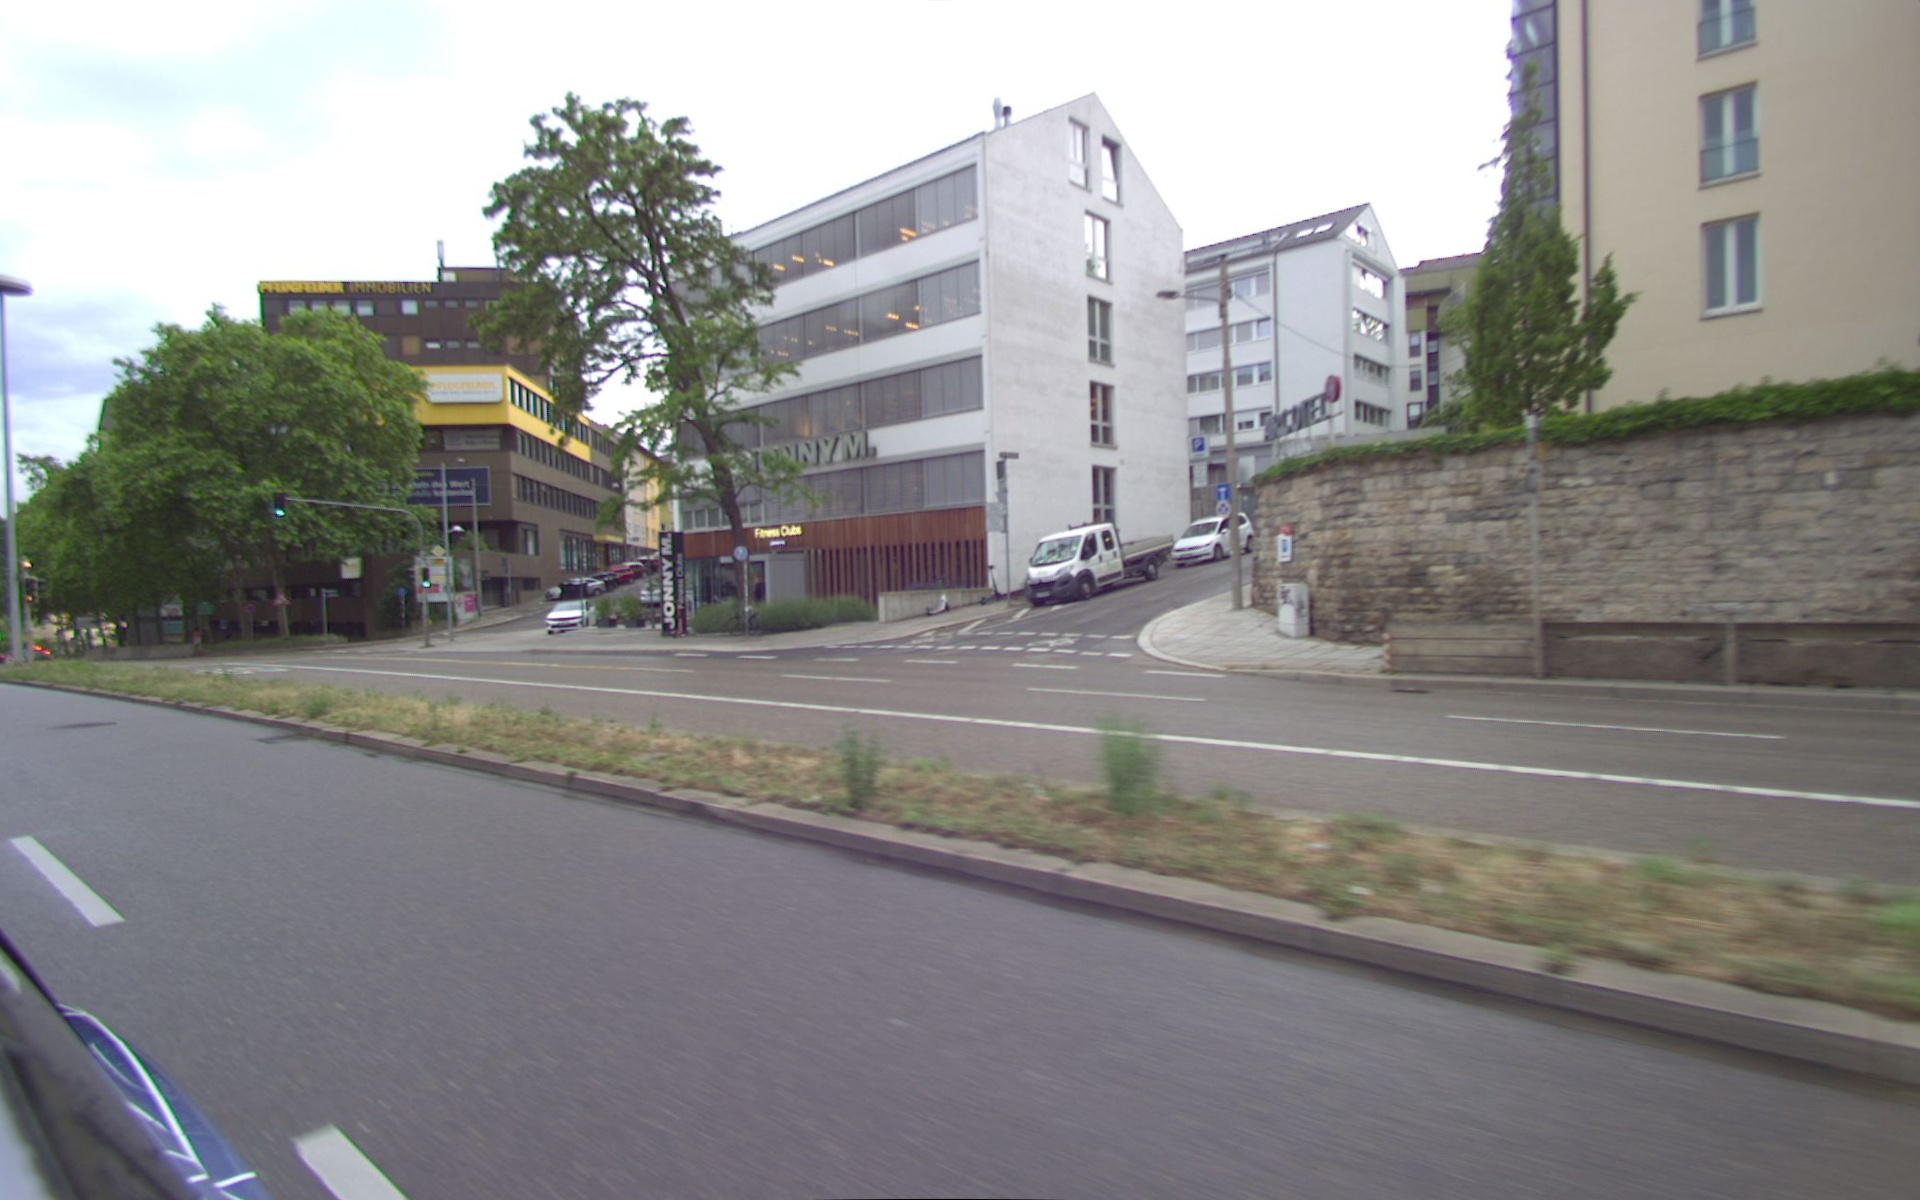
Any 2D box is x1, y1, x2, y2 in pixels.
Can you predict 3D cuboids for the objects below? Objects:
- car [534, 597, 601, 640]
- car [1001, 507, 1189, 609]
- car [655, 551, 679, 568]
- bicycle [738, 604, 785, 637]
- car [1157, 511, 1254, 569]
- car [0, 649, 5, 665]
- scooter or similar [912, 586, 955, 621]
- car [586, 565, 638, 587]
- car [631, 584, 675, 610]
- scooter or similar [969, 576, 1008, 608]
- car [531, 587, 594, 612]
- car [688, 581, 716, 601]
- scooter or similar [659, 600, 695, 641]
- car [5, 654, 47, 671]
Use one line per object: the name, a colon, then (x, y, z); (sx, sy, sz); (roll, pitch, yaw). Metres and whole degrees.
car: (-18.461, 0.828, 47.822); (1.968, 1.665, 4.855); (-4, 2, -10)
car: (4.581, -1.470, 33.162); (2.513, 2.291, 6.836); (-7, 4, 42)
car: (-32.264, -4.437, 111.512); (1.792, 1.696, 4.007); (-2, 4, -6)
bicycle: (-6.346, 0.652, 32.319); (1.757, 0.999, 0.452); (-2, 0, 41)
car: (9.511, -2.344, 39.002); (1.998, 1.795, 3.949); (-3, 4, 40)
car: (-97.553, 5.766, 101.642); (4.164, 1.530, 1.737); (-3, -2, 38)
scooter or similar: (-0.834, 0.106, 32.240); (0.443, 0.928, 1.455); (-3, 4, 39)
car: (-30.129, -2.119, 87.703); (3.938, 1.696, 1.823); (-2, 4, -6)
car: (-19.934, -0.234, 65.895); (1.969, 1.476, 4.496); (-4, 2, -8)
scooter or similar: (0.956, -0.277, 33.987); (0.443, 0.928, 1.455); (-3, 4, 39)
car: (-29.042, -0.043, 74.028); (3.938, 1.696, 1.823); (-3, 0, -6)
car: (-24.132, -0.882, 94.867); (1.969, 1.586, 4.496); (-4, 2, -8)
scooter or similar: (-9.693, 0.705, 34.765); (0.366, 1.256, 1.750); (-3, 3, 11)
car: (-87.969, 5.910, 95.340); (4.871, 1.458, 1.976); (-3, -1, 36)
